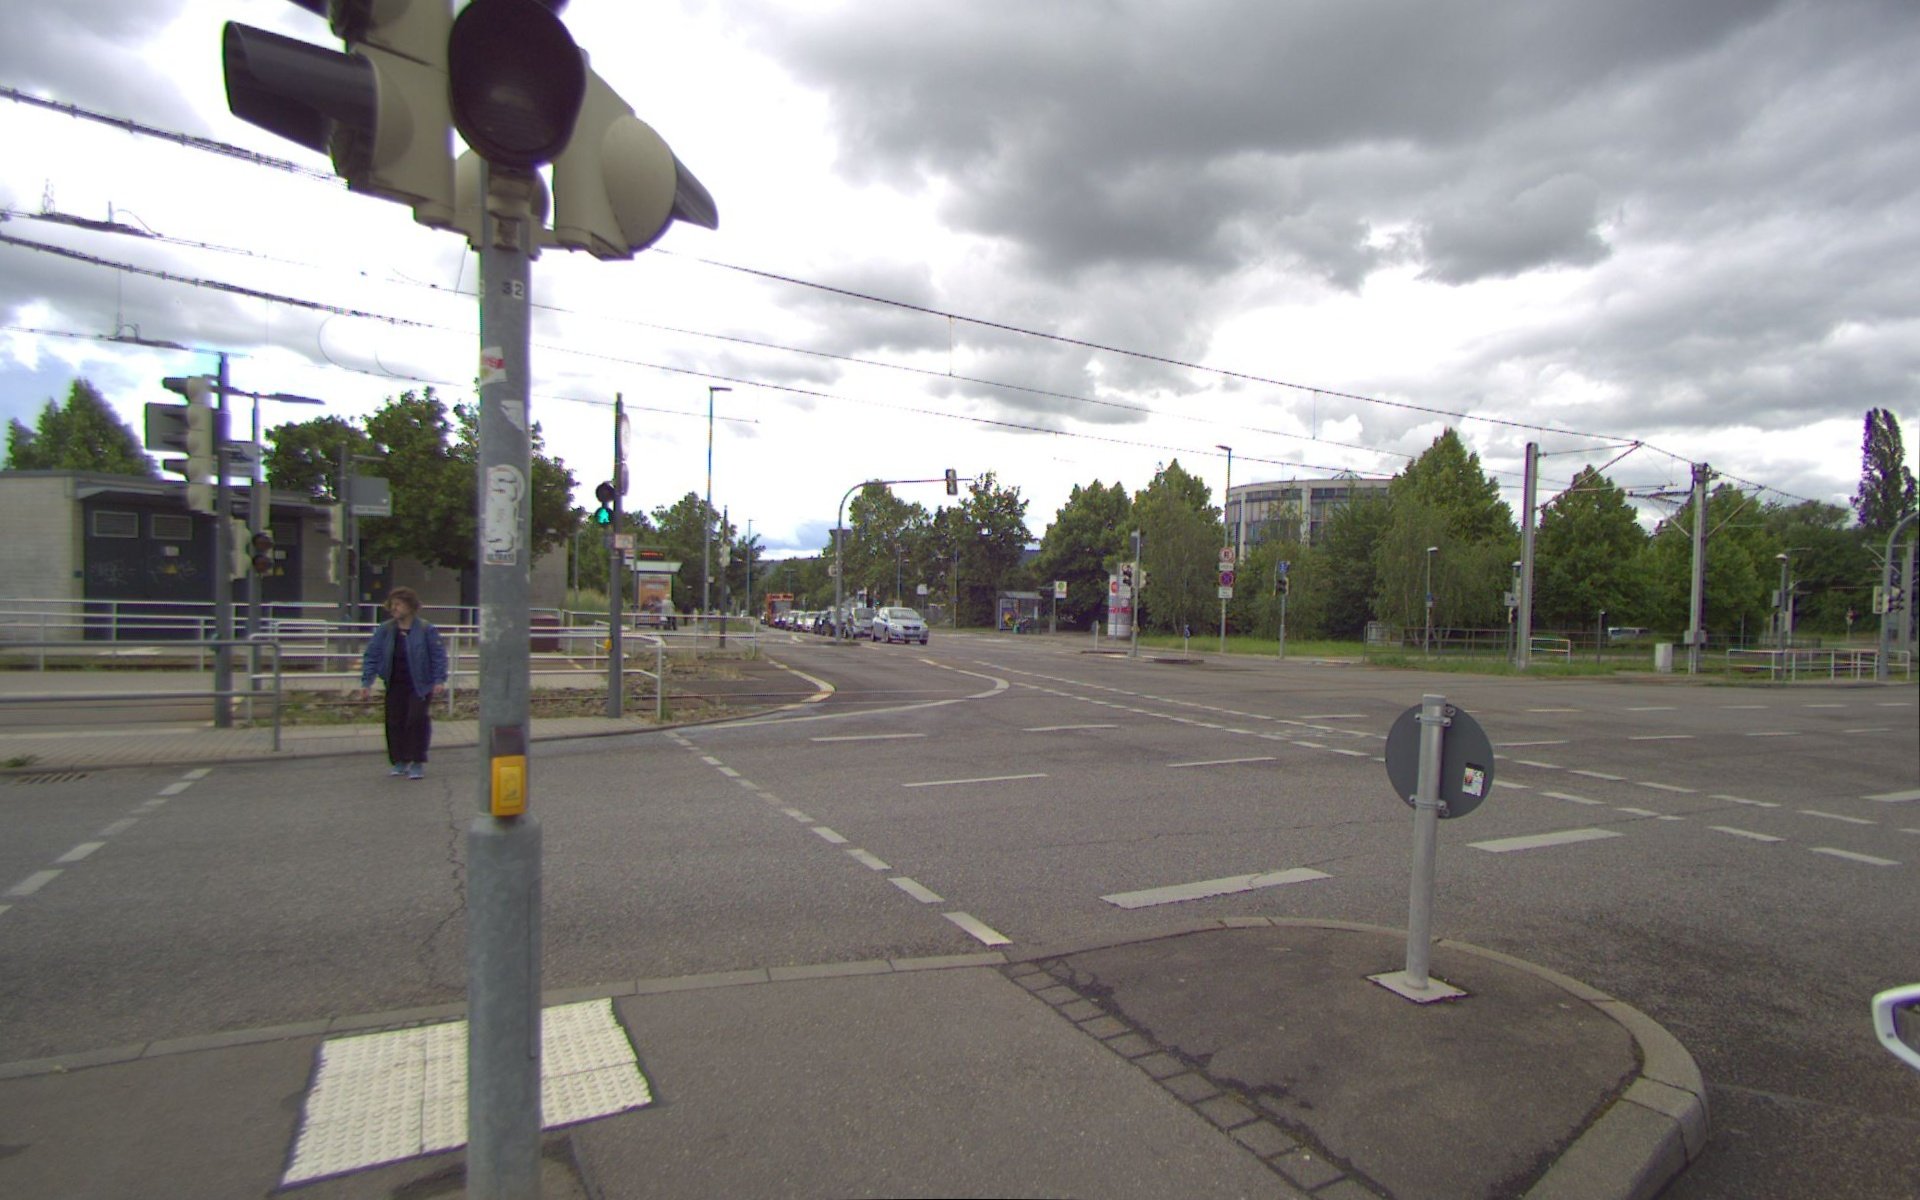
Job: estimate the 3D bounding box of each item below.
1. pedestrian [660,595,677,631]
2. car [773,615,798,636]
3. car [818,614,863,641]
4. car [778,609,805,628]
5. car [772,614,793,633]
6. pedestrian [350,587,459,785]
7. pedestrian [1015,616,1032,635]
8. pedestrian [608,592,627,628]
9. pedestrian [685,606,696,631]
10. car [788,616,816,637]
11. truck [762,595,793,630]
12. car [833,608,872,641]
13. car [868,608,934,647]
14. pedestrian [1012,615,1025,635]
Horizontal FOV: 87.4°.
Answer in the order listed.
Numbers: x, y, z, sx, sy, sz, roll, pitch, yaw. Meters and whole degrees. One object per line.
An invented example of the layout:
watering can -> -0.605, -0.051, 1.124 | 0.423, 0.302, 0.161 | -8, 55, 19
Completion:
pedestrian -> -11.473, 0.505, 39.575 | 0.542, 1.381, 0.770 | 1, 0, -22
car -> -14.360, 2.077, 82.731 | 1.707, 1.606, 4.211 | 1, -1, -14
car -> -6.504, 1.455, 54.365 | 1.775, 1.350, 4.366 | 1, -1, -15
car -> -12.788, 1.370, 75.898 | 1.617, 1.409, 4.871 | 1, -1, -14
car -> -16.005, 2.130, 90.488 | 1.617, 1.606, 4.049 | 1, -1, -14
pedestrian -> -4.571, 0.682, 8.311 | 0.661, 1.550, 0.712 | 2, 0, -22
pedestrian -> 4.206, 1.695, 66.581 | 0.760, 1.269, 0.774 | 1, -1, 34
pedestrian -> -16.031, 0.463, 47.020 | 0.539, 1.692, 0.639 | 1, 0, 13
pedestrian -> -20.342, 1.366, 75.837 | 0.711, 1.860, 0.676 | 1, -1, -13
car -> -11.067, 1.828, 70.297 | 1.617, 1.409, 3.752 | 1, -1, -14
truck -> -19.094, 1.287, 104.651 | 2.668, 3.533, 9.968 | 1, -1, -13
car -> -5.202, 1.185, 48.591 | 1.409, 1.547, 2.765 | 1, -1, -16
car -> -2.538, 1.111, 42.378 | 1.804, 1.556, 4.203 | 1, -1, -18
pedestrian -> 3.928, 1.709, 67.883 | 0.718, 1.333, 0.588 | 1, 0, -12
